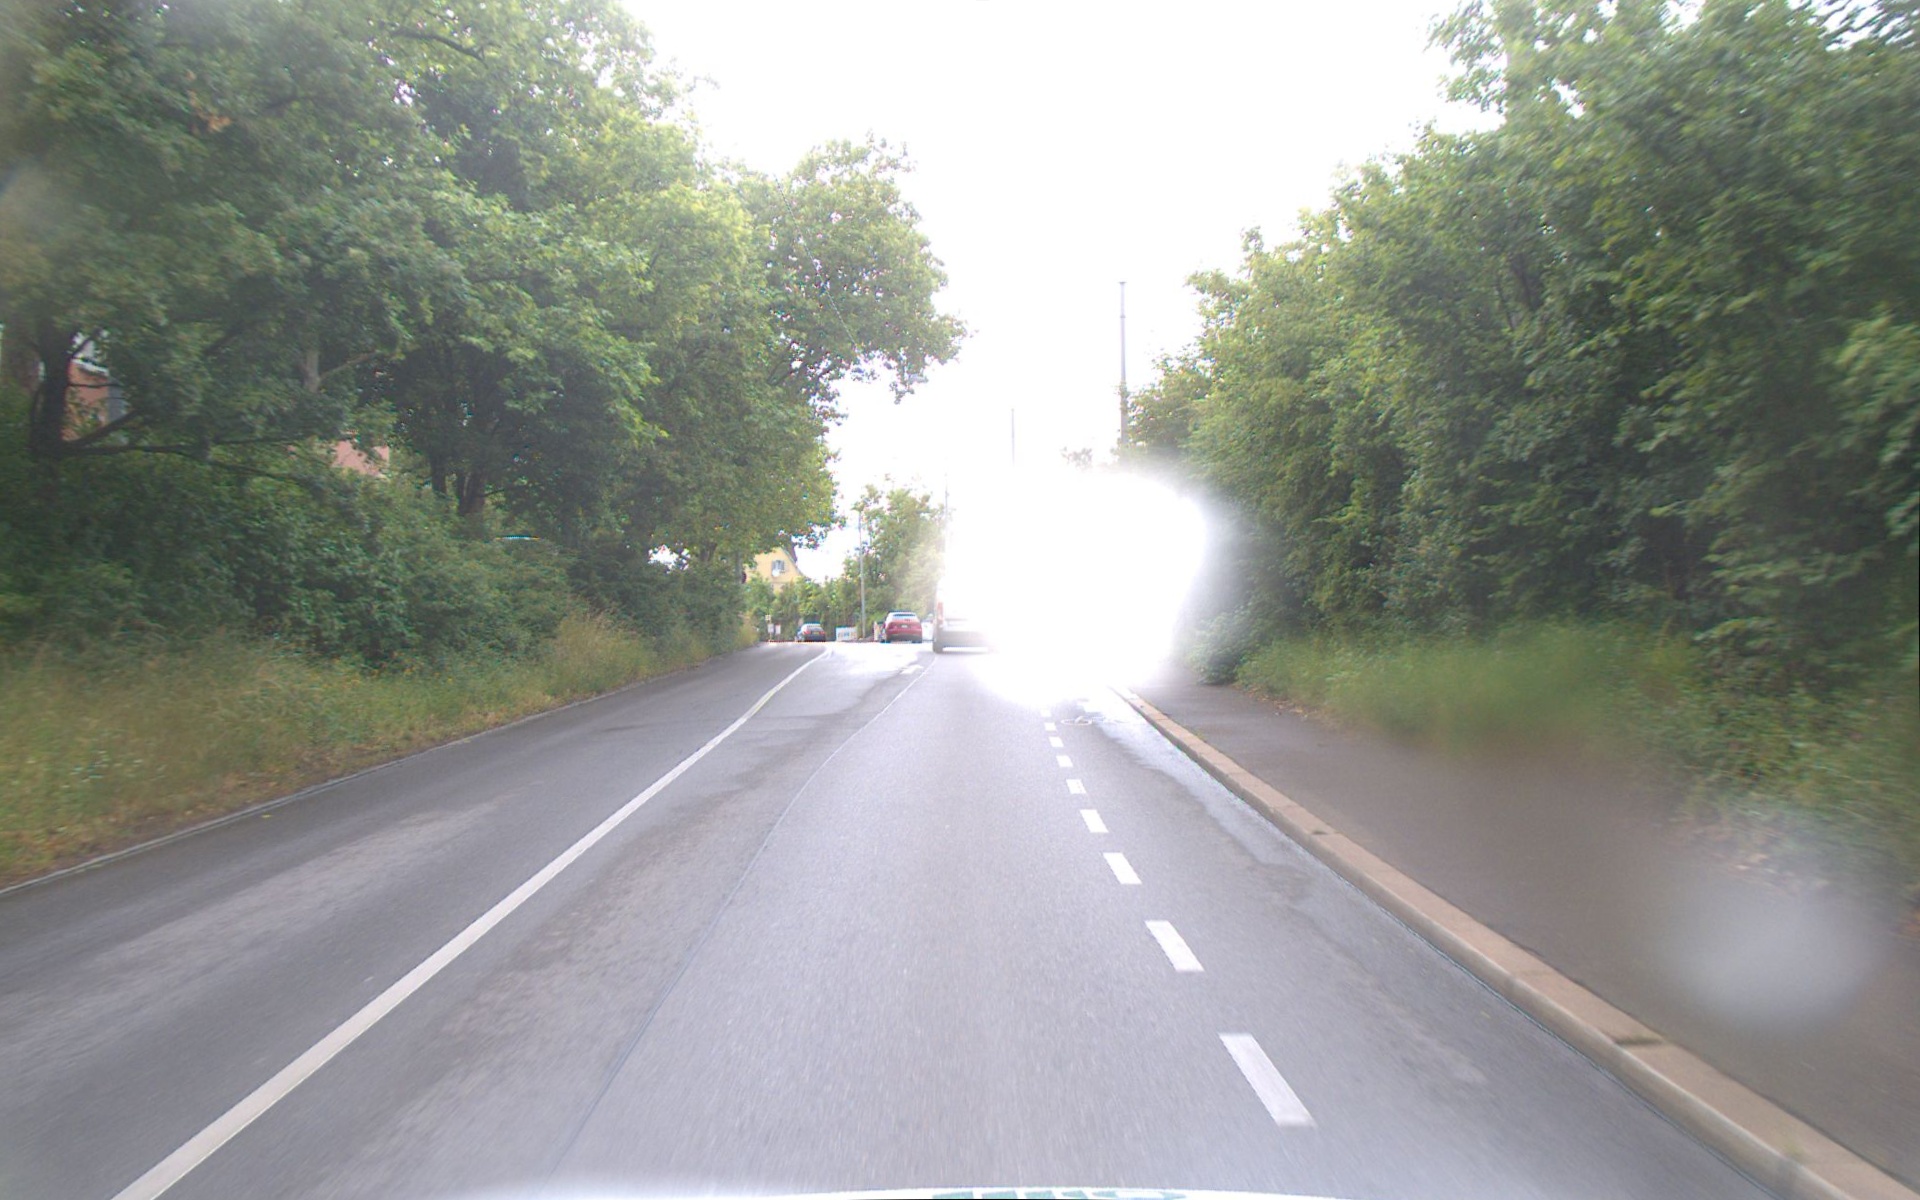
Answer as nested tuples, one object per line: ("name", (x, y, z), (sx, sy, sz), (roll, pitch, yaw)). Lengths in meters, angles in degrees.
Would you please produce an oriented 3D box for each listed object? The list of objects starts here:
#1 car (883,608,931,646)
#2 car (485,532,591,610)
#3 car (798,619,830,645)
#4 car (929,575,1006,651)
("car", (-2.543, 1.260, 78.454), (2.193, 1.686, 4.710), (0, 0, -3))
("car", (-11.697, -0.778, 46.139), (1.953, 2.049, 4.625), (0, 0, -3))
("car", (-10.763, 2.314, 121.551), (2.195, 1.836, 4.705), (0, 0, -7))
("car", (0.172, 0.378, 51.368), (2.192, 2.252, 4.711), (0, 0, -2))
